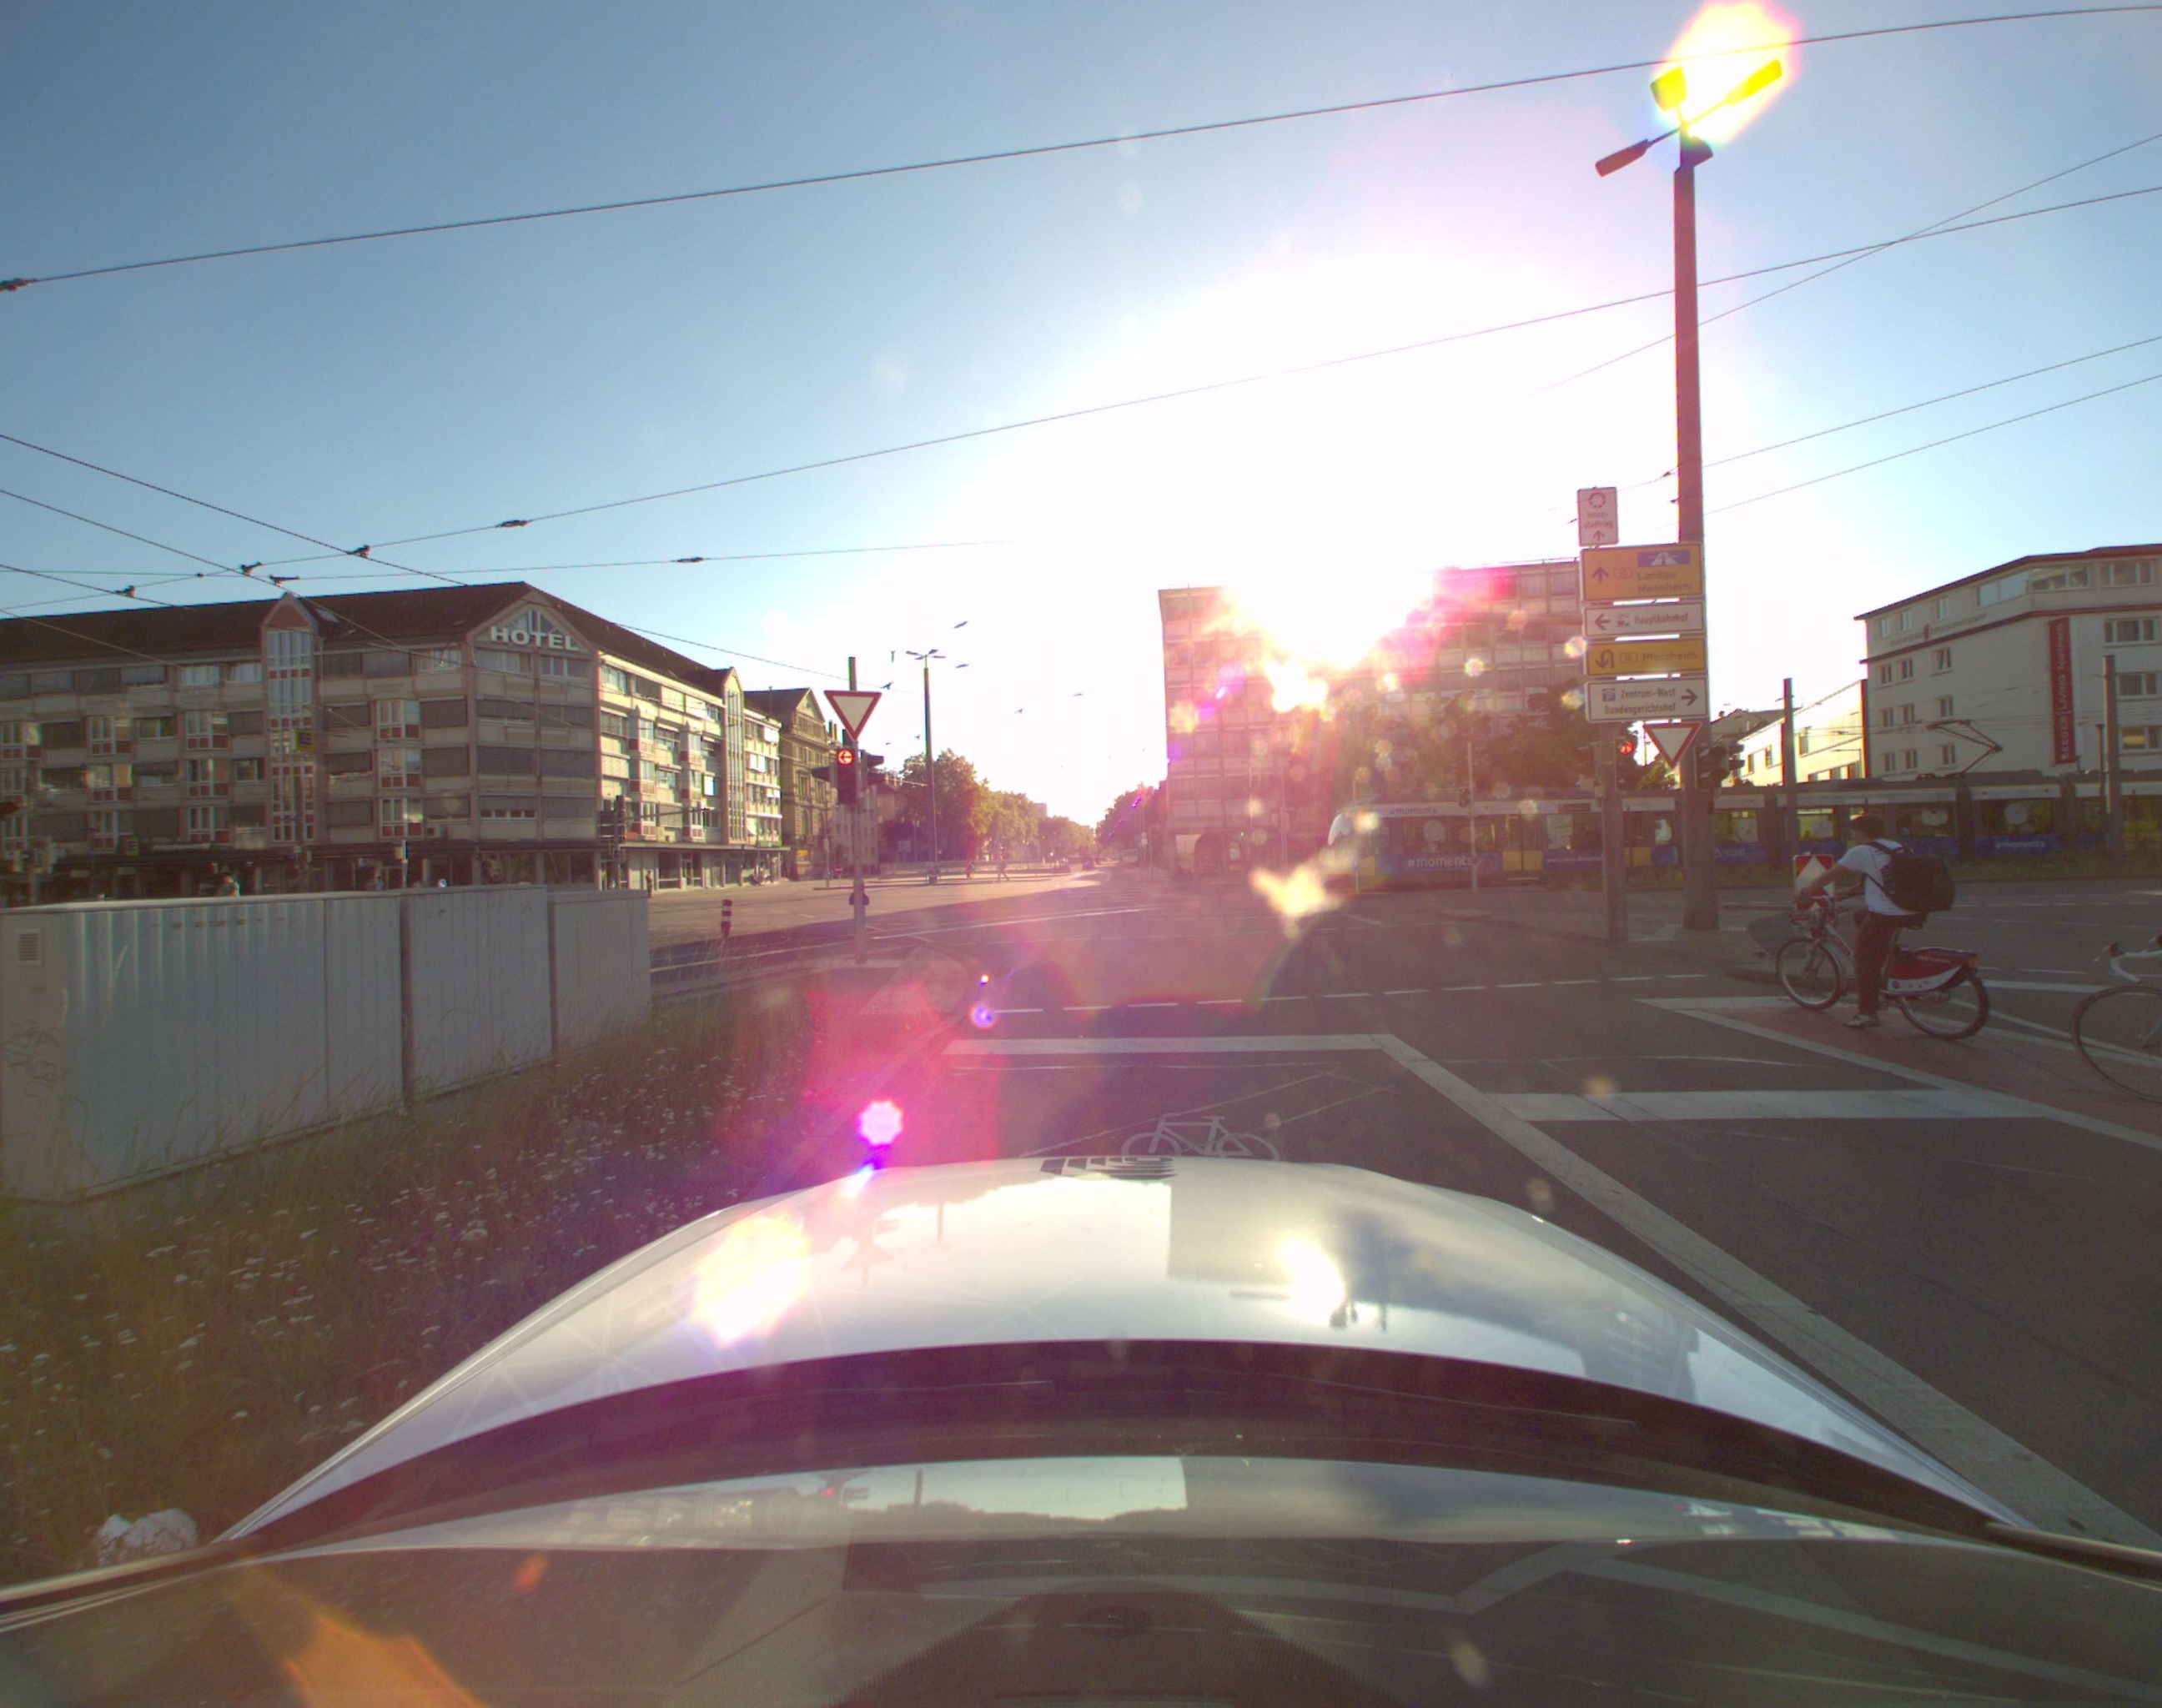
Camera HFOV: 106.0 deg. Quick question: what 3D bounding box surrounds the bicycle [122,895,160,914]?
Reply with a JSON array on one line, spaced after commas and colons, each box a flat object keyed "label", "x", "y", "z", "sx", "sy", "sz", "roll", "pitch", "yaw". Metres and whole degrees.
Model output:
[{"label": "bicycle", "x": -60.248, "y": 3.240, "z": 52.221, "sx": 0.481, "sy": 1.119, "sz": 1.650, "roll": 0, "pitch": -1, "yaw": 2}]

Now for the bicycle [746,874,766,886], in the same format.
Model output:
[{"label": "bicycle", "x": -29.652, "y": 2.369, "z": 74.402, "sx": 0.447, "sy": 1.071, "sz": 2.102, "roll": -1, "pitch": -1, "yaw": 19}]

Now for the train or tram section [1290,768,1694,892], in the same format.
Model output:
[{"label": "train or tram section", "x": 14.650, "y": -0.856, "z": 29.473, "sx": 13.309, "sy": 3.833, "sz": 3.705, "roll": -2, "pitch": -1, "yaw": -9}]

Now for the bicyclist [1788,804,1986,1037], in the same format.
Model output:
[{"label": "bicyclist", "x": 6.590, "y": 0.507, "z": 6.726, "sx": 0.540, "sy": 1.768, "sz": 1.059, "roll": 0, "pitch": -1, "yaw": -3}]

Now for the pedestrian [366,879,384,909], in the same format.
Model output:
[{"label": "pedestrian", "x": -41.972, "y": 2.368, "z": 48.416, "sx": 0.625, "sy": 1.694, "sz": 0.859, "roll": 0, "pitch": -1, "yaw": -30}]

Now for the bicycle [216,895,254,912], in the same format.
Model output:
[{"label": "bicycle", "x": -52.459, "y": 3.068, "z": 50.513, "sx": 2.060, "sy": 0.917, "sz": 0.502, "roll": -2, "pitch": -1, "yaw": 7}]

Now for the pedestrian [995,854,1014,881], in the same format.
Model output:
[{"label": "pedestrian", "x": -5.121, "y": 0.893, "z": 54.403, "sx": 1.191, "sy": 1.731, "sz": 0.855, "roll": 0, "pitch": -1, "yaw": -3}]

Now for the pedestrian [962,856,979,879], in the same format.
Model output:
[{"label": "pedestrian", "x": -7.131, "y": 0.871, "z": 52.536, "sx": 0.858, "sy": 1.465, "sz": 0.680, "roll": 0, "pitch": -6, "yaw": -27}]

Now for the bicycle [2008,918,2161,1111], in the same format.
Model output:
[{"label": "bicycle", "x": 6.189, "y": 0.904, "z": 4.328, "sx": 0.540, "sy": 1.001, "sz": 1.692, "roll": 0, "pitch": -1, "yaw": -3}]

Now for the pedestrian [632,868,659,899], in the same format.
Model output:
[{"label": "pedestrian", "x": -28.397, "y": 1.950, "z": 53.122, "sx": 1.191, "sy": 1.882, "sz": 0.856, "roll": 0, "pitch": 8, "yaw": -3}]

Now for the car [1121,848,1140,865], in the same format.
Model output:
[{"label": "car", "x": 6.315, "y": 0.316, "z": 103.961, "sx": 2.275, "sy": 2.172, "sz": 4.838, "roll": 0, "pitch": -1, "yaw": 4}]

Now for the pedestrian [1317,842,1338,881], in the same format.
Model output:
[{"label": "pedestrian", "x": 10.893, "y": 0.345, "z": 35.964, "sx": 0.692, "sy": 1.682, "sz": 1.043, "roll": 0, "pitch": -1, "yaw": 5}]

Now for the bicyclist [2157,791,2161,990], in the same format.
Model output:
[{"label": "bicyclist", "x": 6.165, "y": 0.526, "z": 4.029, "sx": 0.612, "sy": 1.746, "sz": 0.791, "roll": 0, "pitch": -1, "yaw": -3}]

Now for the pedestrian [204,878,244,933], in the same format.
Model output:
[{"label": "pedestrian", "x": -29.302, "y": 1.758, "z": 27.844, "sx": 0.557, "sy": 1.847, "sz": 0.725, "roll": -1, "pitch": -1, "yaw": 8}]

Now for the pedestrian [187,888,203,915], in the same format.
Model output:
[{"label": "pedestrian", "x": -56.376, "y": 3.014, "z": 51.839, "sx": 0.614, "sy": 1.635, "sz": 0.596, "roll": -1, "pitch": -4, "yaw": -42}]

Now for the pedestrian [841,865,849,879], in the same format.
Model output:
[{"label": "pedestrian", "x": -28.108, "y": 2.120, "z": 97.153, "sx": 0.693, "sy": 1.695, "sz": 0.724, "roll": 0, "pitch": -1, "yaw": 1}]

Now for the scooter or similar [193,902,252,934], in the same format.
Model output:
[{"label": "scooter or similar", "x": -29.328, "y": 2.184, "z": 27.834, "sx": 0.483, "sy": 1.006, "sz": 1.333, "roll": -1, "pitch": -1, "yaw": 9}]

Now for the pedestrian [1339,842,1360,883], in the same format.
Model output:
[{"label": "pedestrian", "x": 11.774, "y": 0.369, "z": 35.723, "sx": 0.691, "sy": 1.793, "sz": 1.045, "roll": -1, "pitch": -1, "yaw": 10}]

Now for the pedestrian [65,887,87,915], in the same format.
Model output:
[{"label": "pedestrian", "x": -64.715, "y": 3.025, "z": 52.444, "sx": 0.671, "sy": 1.778, "sz": 0.825, "roll": -1, "pitch": -1, "yaw": 32}]

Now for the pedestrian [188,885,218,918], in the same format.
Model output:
[{"label": "pedestrian", "x": -45.388, "y": 2.454, "z": 42.113, "sx": 0.680, "sy": 1.660, "sz": 0.780, "roll": 0, "pitch": -1, "yaw": -4}]

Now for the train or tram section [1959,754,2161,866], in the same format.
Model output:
[{"label": "train or tram section", "x": 40.657, "y": -1.546, "z": 29.679, "sx": 12.884, "sy": 3.834, "sz": 3.718, "roll": 0, "pitch": -1, "yaw": 2}]

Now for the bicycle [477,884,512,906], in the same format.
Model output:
[{"label": "bicycle", "x": -34.851, "y": 2.438, "z": 48.407, "sx": 0.635, "sy": 1.145, "sz": 1.773, "roll": 0, "pitch": 2, "yaw": 6}]

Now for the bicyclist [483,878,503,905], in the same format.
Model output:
[{"label": "bicyclist", "x": -34.864, "y": 2.217, "z": 48.257, "sx": 0.636, "sy": 1.596, "sz": 0.659, "roll": 0, "pitch": 2, "yaw": 5}]

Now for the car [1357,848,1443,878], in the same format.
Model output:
[{"label": "car", "x": 17.312, "y": 0.487, "z": 44.350, "sx": 4.046, "sy": 1.618, "sz": 1.847, "roll": 0, "pitch": -1, "yaw": 6}]

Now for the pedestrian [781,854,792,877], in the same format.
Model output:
[{"label": "pedestrian", "x": -31.265, "y": 1.190, "z": 86.526, "sx": 0.926, "sy": 2.398, "sz": 0.958, "roll": 0, "pitch": -1, "yaw": -9}]

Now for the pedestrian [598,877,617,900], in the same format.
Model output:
[{"label": "pedestrian", "x": -29.682, "y": 2.156, "z": 51.086, "sx": 0.703, "sy": 1.453, "sz": 0.855, "roll": 0, "pitch": -1, "yaw": -3}]

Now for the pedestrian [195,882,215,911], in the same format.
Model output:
[{"label": "pedestrian", "x": -56.211, "y": 2.742, "z": 52.245, "sx": 0.598, "sy": 1.852, "sz": 0.613, "roll": -1, "pitch": -1, "yaw": 12}]

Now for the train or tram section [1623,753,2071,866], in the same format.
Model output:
[{"label": "train or tram section", "x": 27.806, "y": -1.528, "z": 30.170, "sx": 12.887, "sy": 3.834, "sz": 3.717, "roll": 0, "pitch": -1, "yaw": 2}]

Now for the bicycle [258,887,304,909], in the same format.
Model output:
[{"label": "bicycle", "x": -49.460, "y": 2.708, "z": 50.339, "sx": 2.312, "sy": 1.227, "sz": 0.731, "roll": -2, "pitch": -1, "yaw": 7}]

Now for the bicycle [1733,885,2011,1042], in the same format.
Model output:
[{"label": "bicycle", "x": 6.569, "y": 0.843, "z": 6.922, "sx": 0.540, "sy": 1.101, "sz": 1.807, "roll": 0, "pitch": -1, "yaw": -3}]
